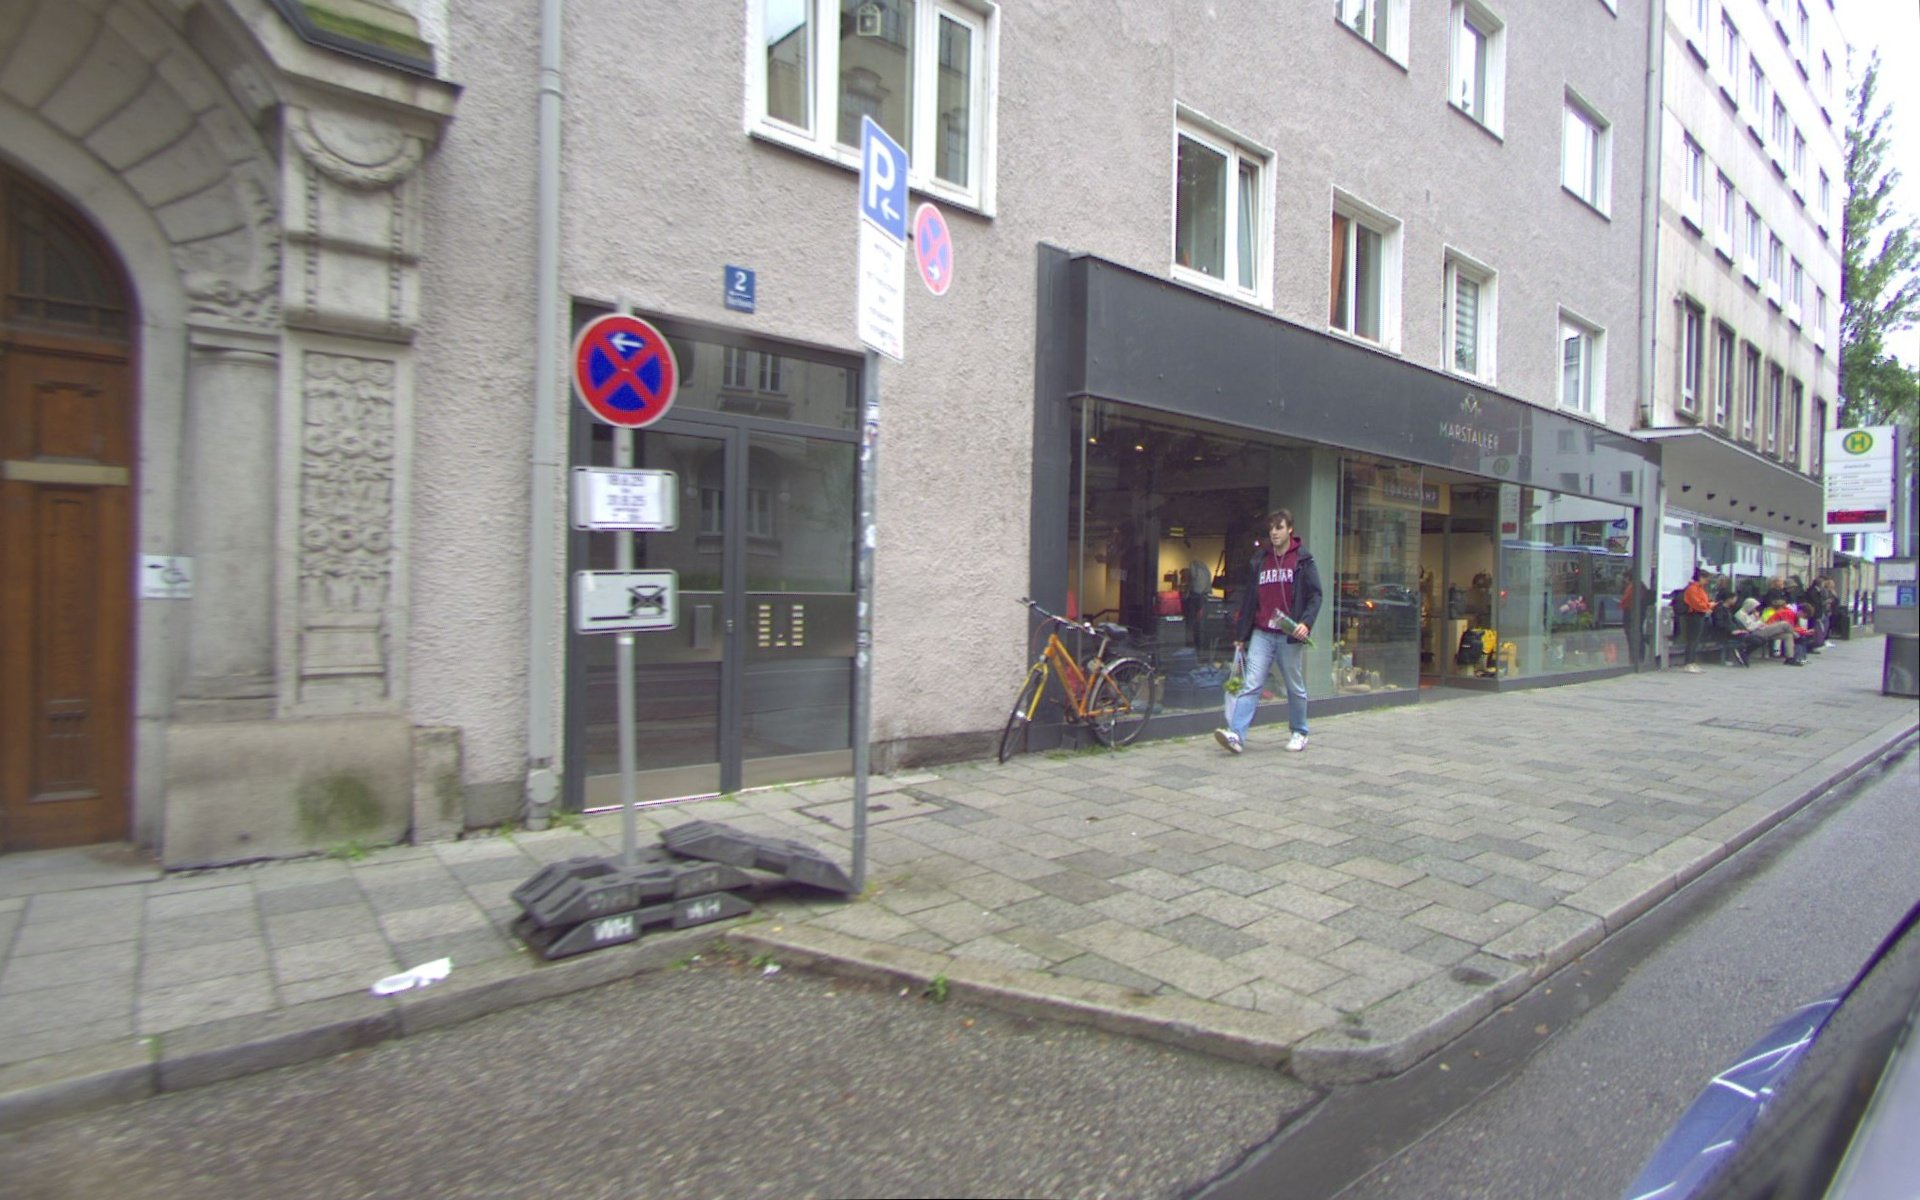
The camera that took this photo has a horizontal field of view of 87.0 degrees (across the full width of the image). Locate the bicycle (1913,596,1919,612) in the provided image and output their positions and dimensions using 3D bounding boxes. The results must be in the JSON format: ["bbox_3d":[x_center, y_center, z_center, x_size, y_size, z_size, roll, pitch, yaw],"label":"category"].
[{"bbox_3d":[70.761,0.308,73.580,2.115,1.131,0.620,3,2,41],"label":"bicycle"}]

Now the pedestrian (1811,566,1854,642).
[{"bbox_3d":[21.538,0.085,24.983,0.683,1.845,0.659,0,2,-39],"label":"pedestrian"}]

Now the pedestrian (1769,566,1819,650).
[{"bbox_3d":[17.884,0.156,21.707,0.764,1.754,0.659,0,2,-39],"label":"pedestrian"}]

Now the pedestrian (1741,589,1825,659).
[{"bbox_3d":[15.543,0.437,19.120,0.656,1.252,1.099,0,2,-39],"label":"pedestrian"}]

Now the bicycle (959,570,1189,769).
[{"bbox_3d":[0.873,0.451,7.394,1.788,1.275,0.513,0,5,-40],"label":"bicycle"}]

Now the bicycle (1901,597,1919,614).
[{"bbox_3d":[64.938,0.407,68.224,2.115,1.131,0.728,3,2,41],"label":"bicycle"}]

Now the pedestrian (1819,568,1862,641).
[{"bbox_3d":[22.136,0.106,25.445,0.757,1.805,0.659,0,2,-39],"label":"pedestrian"}]

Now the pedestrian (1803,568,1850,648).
[{"bbox_3d":[19.468,0.163,22.734,0.683,1.754,0.659,0,2,-39],"label":"pedestrian"}]

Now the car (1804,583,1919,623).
[{"bbox_3d":[44.613,0.109,49.788,1.838,1.770,4.458,0,2,-40],"label":"car"}]

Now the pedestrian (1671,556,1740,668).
[{"bbox_3d":[12.147,0.179,16.487,0.733,1.754,0.704,0,2,-39],"label":"pedestrian"}]

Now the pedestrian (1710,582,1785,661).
[{"bbox_3d":[14.150,0.367,18.192,0.847,1.369,0.862,0,2,-39],"label":"pedestrian"}]

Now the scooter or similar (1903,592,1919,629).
[{"bbox_3d":[33.934,0.358,35.702,1.415,1.257,0.565,0,1,-30],"label":"scooter or similar"}]

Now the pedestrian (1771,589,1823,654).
[{"bbox_3d":[16.659,0.415,20.152,0.487,1.252,0.681,0,2,-39],"label":"pedestrian"}]

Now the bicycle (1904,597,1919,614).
[{"bbox_3d":[65.741,0.414,68.856,2.115,1.131,0.728,3,2,41],"label":"bicycle"}]

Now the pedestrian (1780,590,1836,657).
[{"bbox_3d":[16.443,0.439,19.634,0.574,1.252,0.709,0,2,-39],"label":"pedestrian"}]

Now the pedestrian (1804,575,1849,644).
[{"bbox_3d":[20.676,0.209,24.150,0.683,1.613,0.659,0,2,-39],"label":"pedestrian"}]

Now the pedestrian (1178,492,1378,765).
[{"bbox_3d":[2.475,0.173,7.880,1.158,1.933,0.929,0,3,-40],"label":"pedestrian"}]

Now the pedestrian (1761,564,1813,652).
[{"bbox_3d":[16.923,0.155,20.717,0.672,1.754,0.659,0,2,-39],"label":"pedestrian"}]
